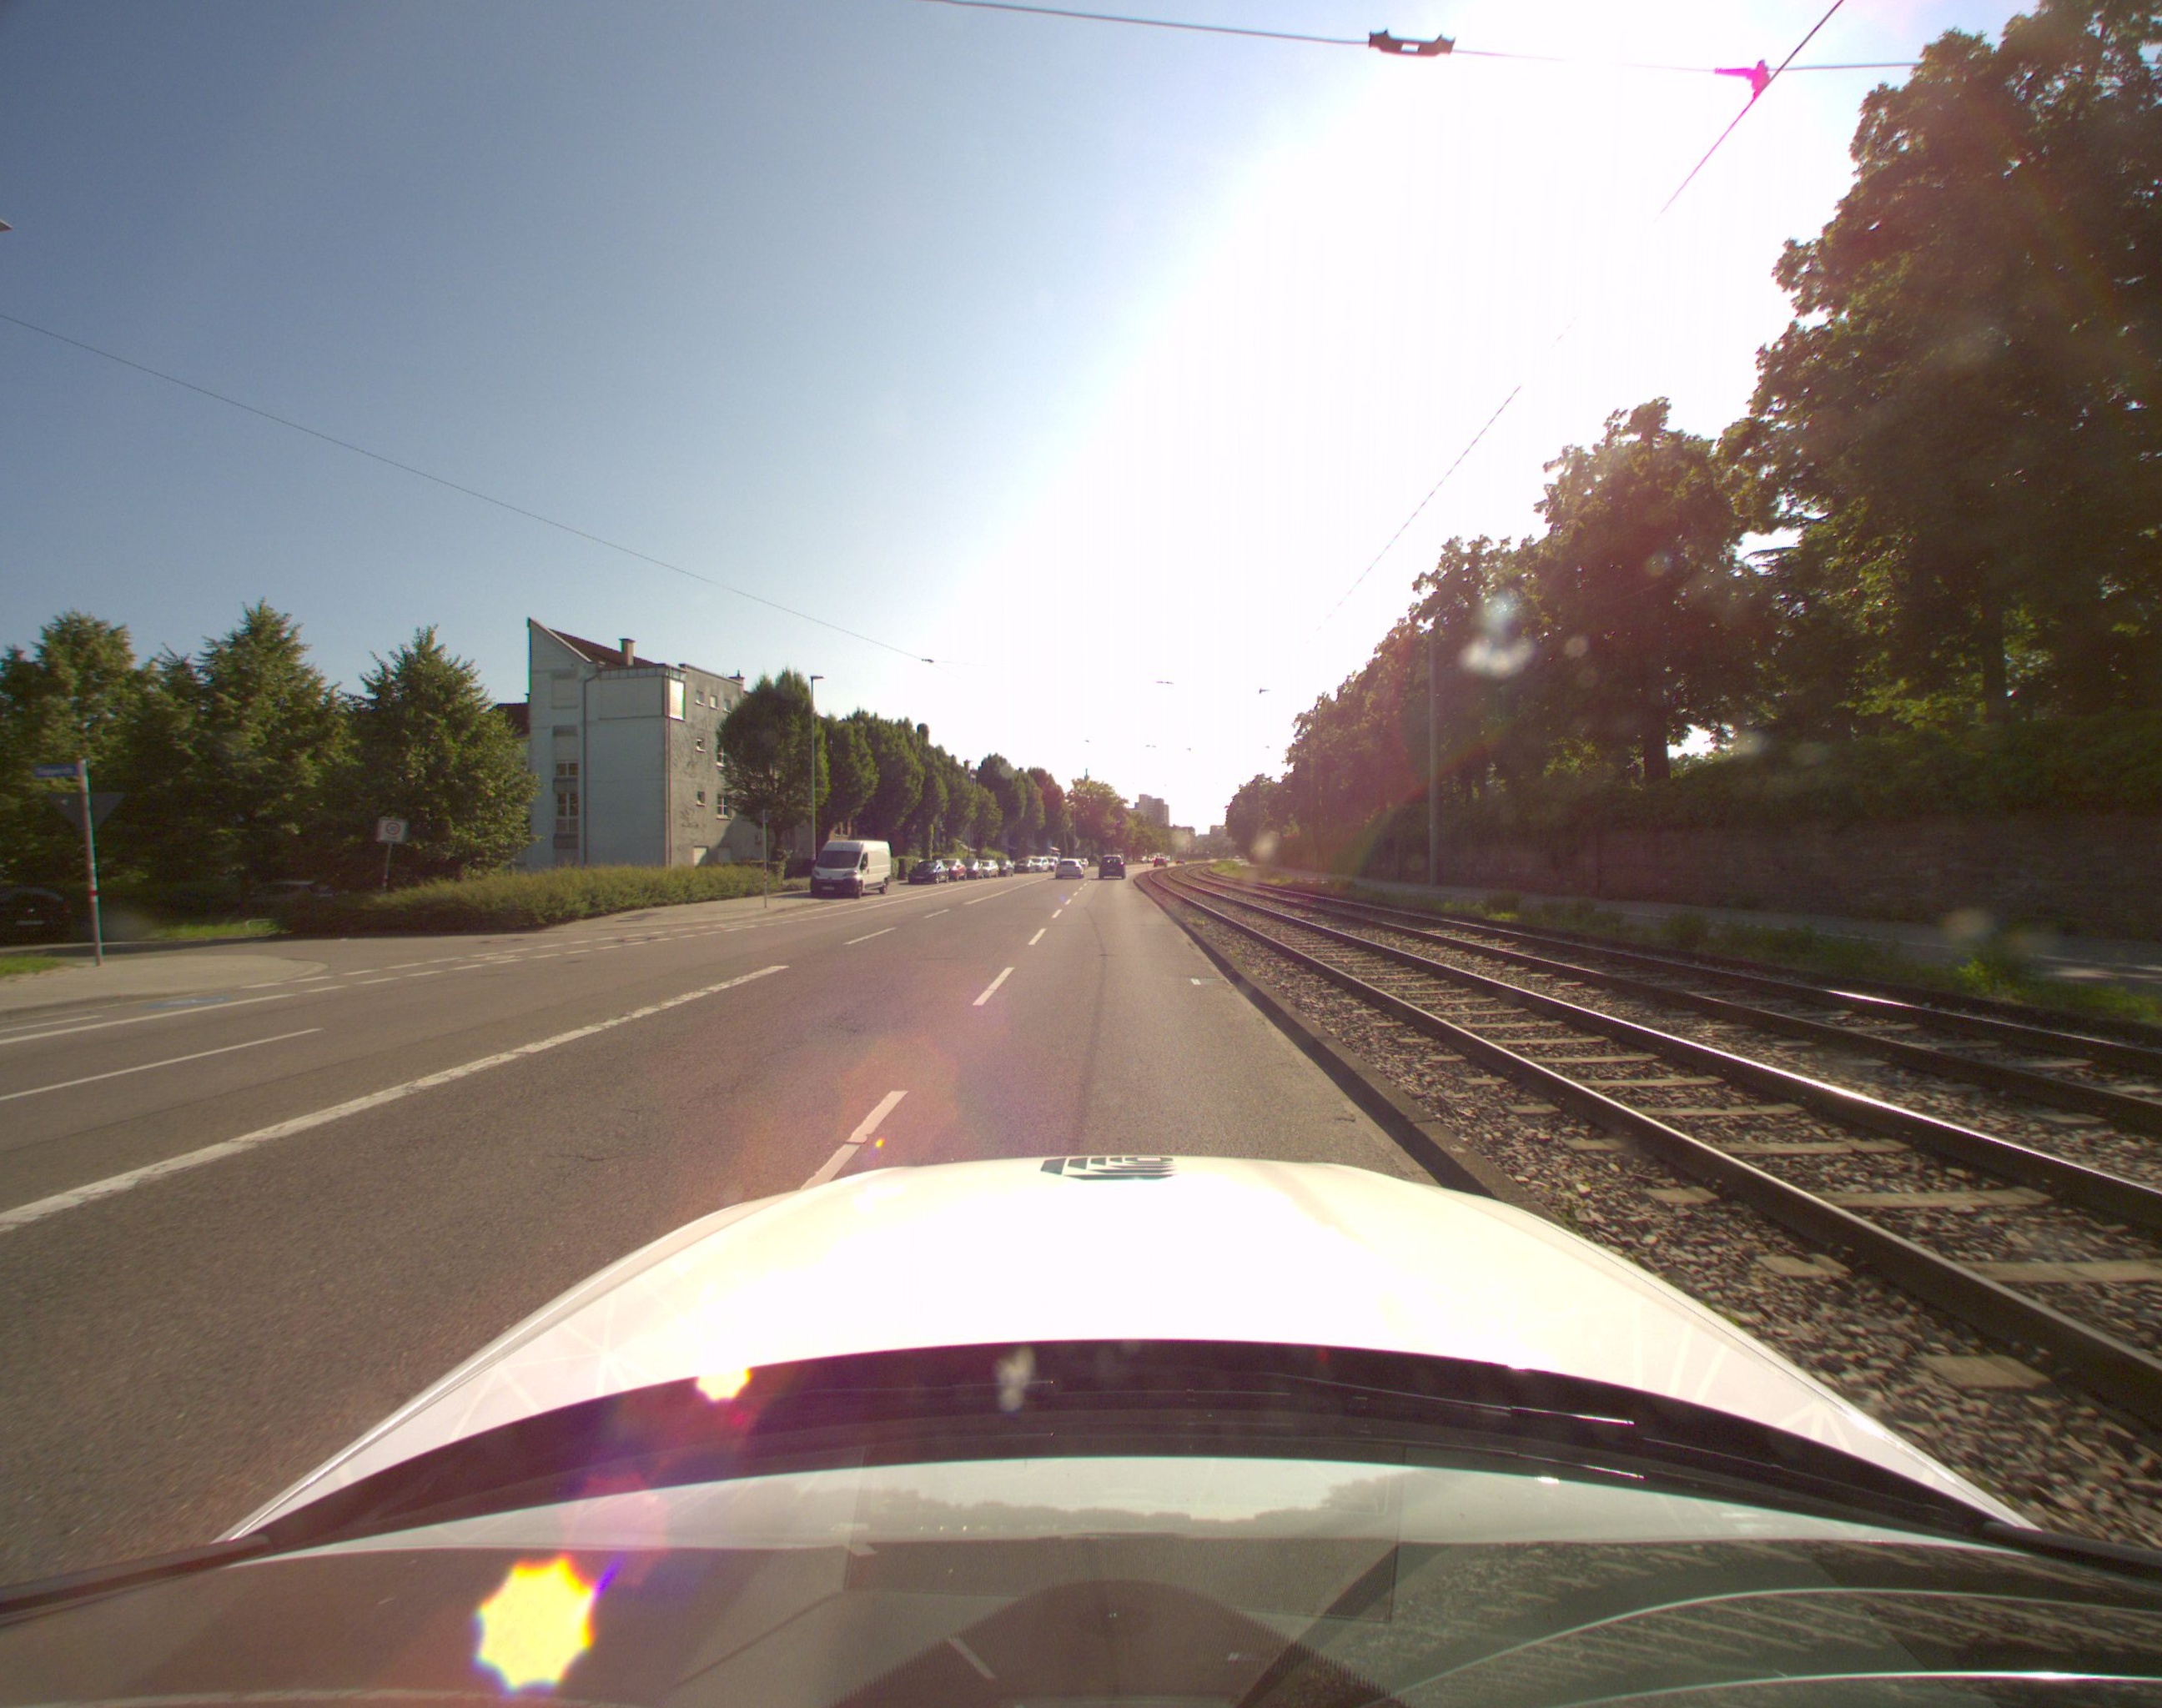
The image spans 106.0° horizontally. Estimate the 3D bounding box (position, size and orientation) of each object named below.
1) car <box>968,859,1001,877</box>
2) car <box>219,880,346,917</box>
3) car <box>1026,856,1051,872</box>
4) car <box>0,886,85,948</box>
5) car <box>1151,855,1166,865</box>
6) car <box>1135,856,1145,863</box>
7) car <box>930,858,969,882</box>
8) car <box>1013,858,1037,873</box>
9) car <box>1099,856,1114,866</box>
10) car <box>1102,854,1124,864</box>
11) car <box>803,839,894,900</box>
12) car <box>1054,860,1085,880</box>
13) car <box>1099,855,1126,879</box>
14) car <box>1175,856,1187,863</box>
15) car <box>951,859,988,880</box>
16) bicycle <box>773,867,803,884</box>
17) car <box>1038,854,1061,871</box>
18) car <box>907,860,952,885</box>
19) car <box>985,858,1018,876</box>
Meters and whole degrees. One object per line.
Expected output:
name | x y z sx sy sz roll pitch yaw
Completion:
car | -8.055 1.167 68.185 1.704 1.471 4.851 1 -1 6
car | -30.474 1.690 31.109 3.755 1.268 1.751 -1 0 14
car | -4.710 1.066 90.610 1.658 1.701 4.838 1 0 11
car | -31.472 1.805 23.613 3.956 1.697 1.780 -1 -3 16
car | 11.375 0.911 119.041 1.799 1.449 4.012 1 0 11
car | 13.418 1.262 185.858 1.720 1.658 4.014 -1 0 13
car | -9.131 1.096 56.962 1.754 1.574 4.166 -1 -1 4
car | -5.837 1.165 85.137 1.606 1.466 4.068 1 0 9
car | 4.379 1.154 137.915 1.701 1.694 4.436 -1 0 11
car | 8.237 1.365 210.365 5.341 2.423 2.094 -1 0 11
car | -10.286 0.624 36.675 2.144 2.457 6.185 1 0 1
car | -0.768 1.081 57.523 1.857 1.348 4.004 0 0 3
car | 2.256 0.893 57.053 1.804 1.645 4.003 0 0 3
car | 19.603 1.060 159.524 1.798 1.449 4.015 1 0 14
car | -8.568 1.176 62.795 1.753 1.574 4.306 1 0 6
bicycle | -18.125 1.327 50.385 1.672 0.977 0.644 0 0 10
car | -3.734 1.041 96.777 1.752 1.845 4.592 4 0 9
car | -9.500 1.149 51.529 1.645 1.424 4.718 -1 0 4
car | -7.197 1.161 74.022 1.856 1.544 4.919 1 0 7
